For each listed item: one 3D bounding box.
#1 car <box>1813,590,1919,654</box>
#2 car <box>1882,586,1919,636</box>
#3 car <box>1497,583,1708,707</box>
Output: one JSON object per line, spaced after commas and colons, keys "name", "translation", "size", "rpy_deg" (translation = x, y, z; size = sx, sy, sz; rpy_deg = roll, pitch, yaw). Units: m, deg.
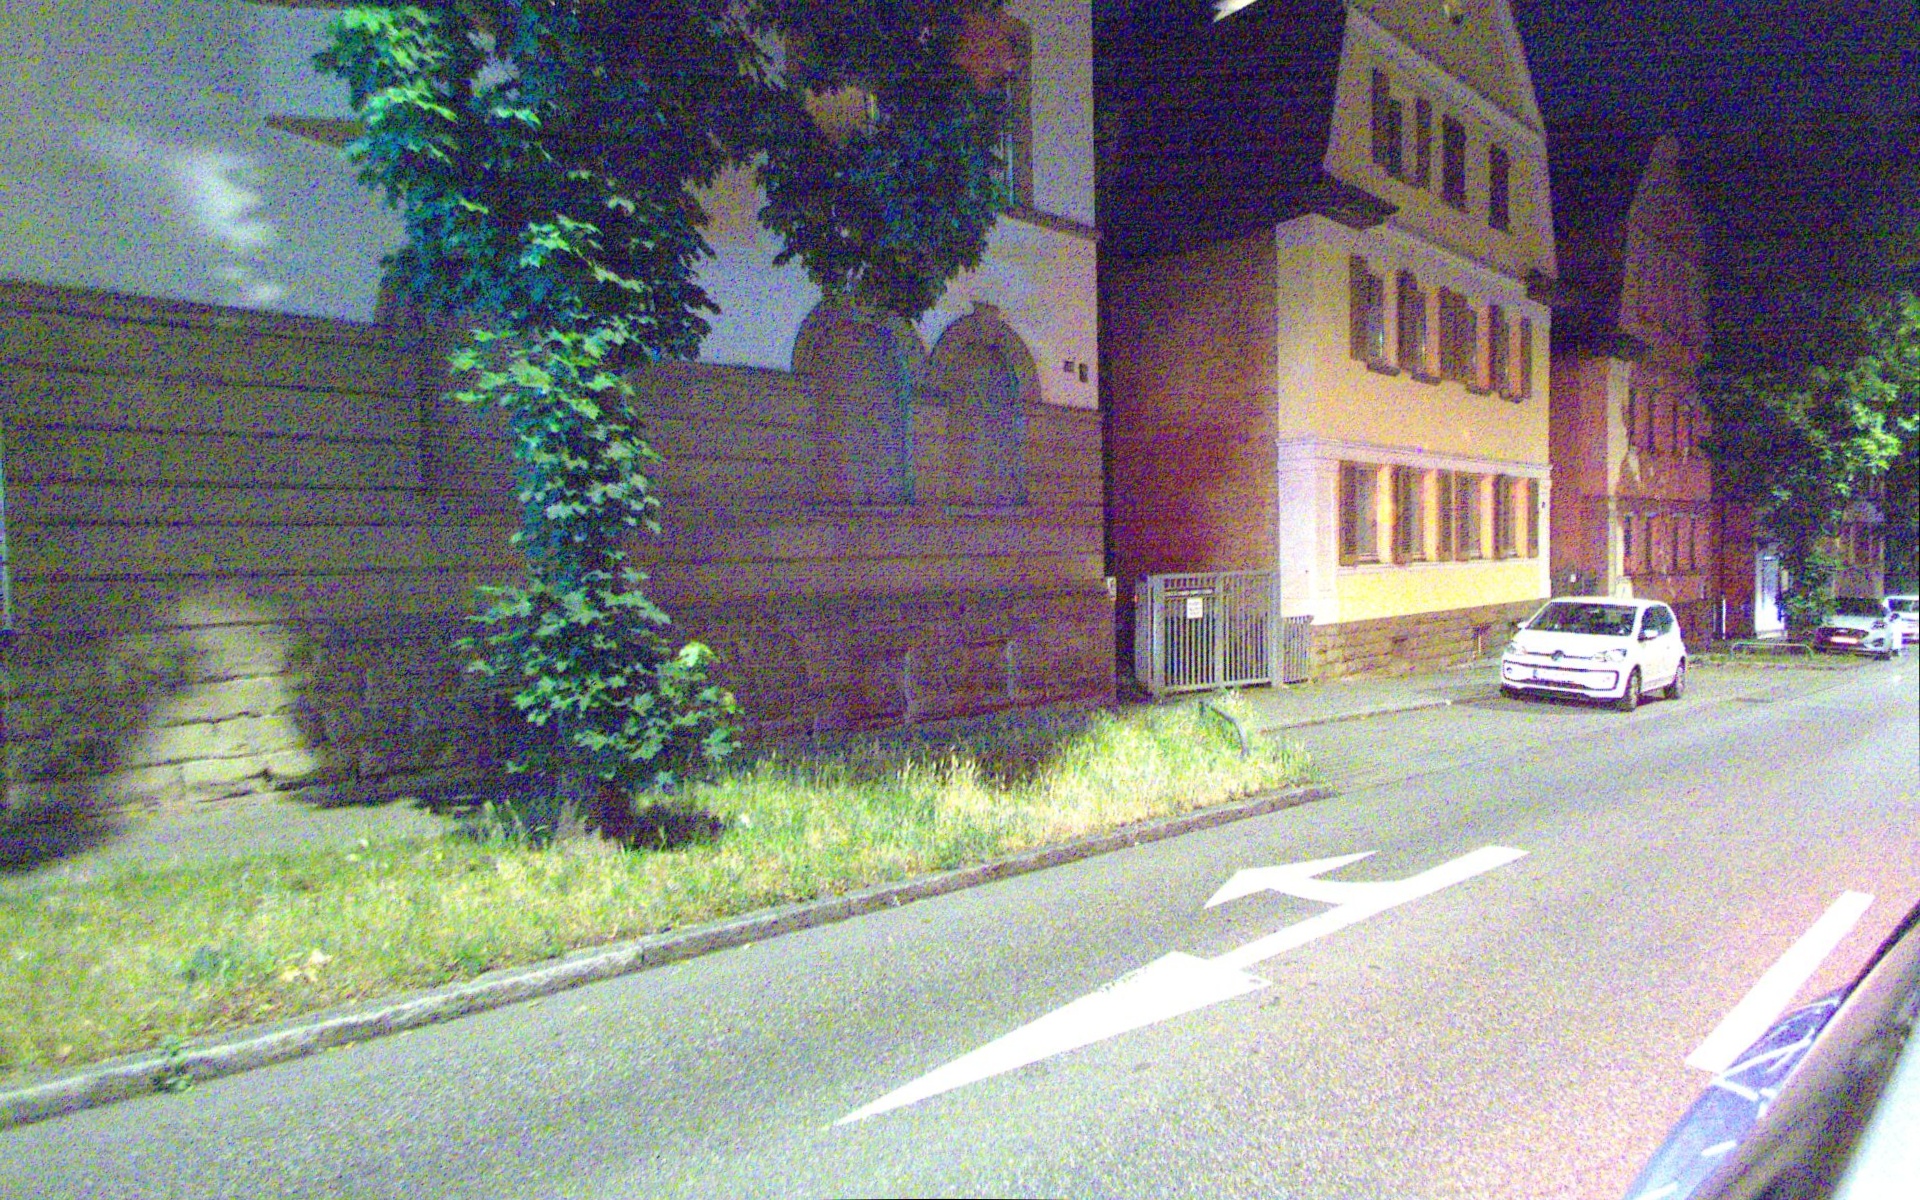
{"name": "car", "translation": [23.608, 0.506, 26.280], "size": [3.824, 1.516, 1.740], "rpy_deg": [0, 2, -43]}
{"name": "car", "translation": [33.532, 0.365, 35.138], "size": [4.107, 1.673, 1.850], "rpy_deg": [0, 0, -42]}
{"name": "car", "translation": [9.265, 0.556, 14.506], "size": [3.425, 1.527, 1.610], "rpy_deg": [0, 2, -41]}
